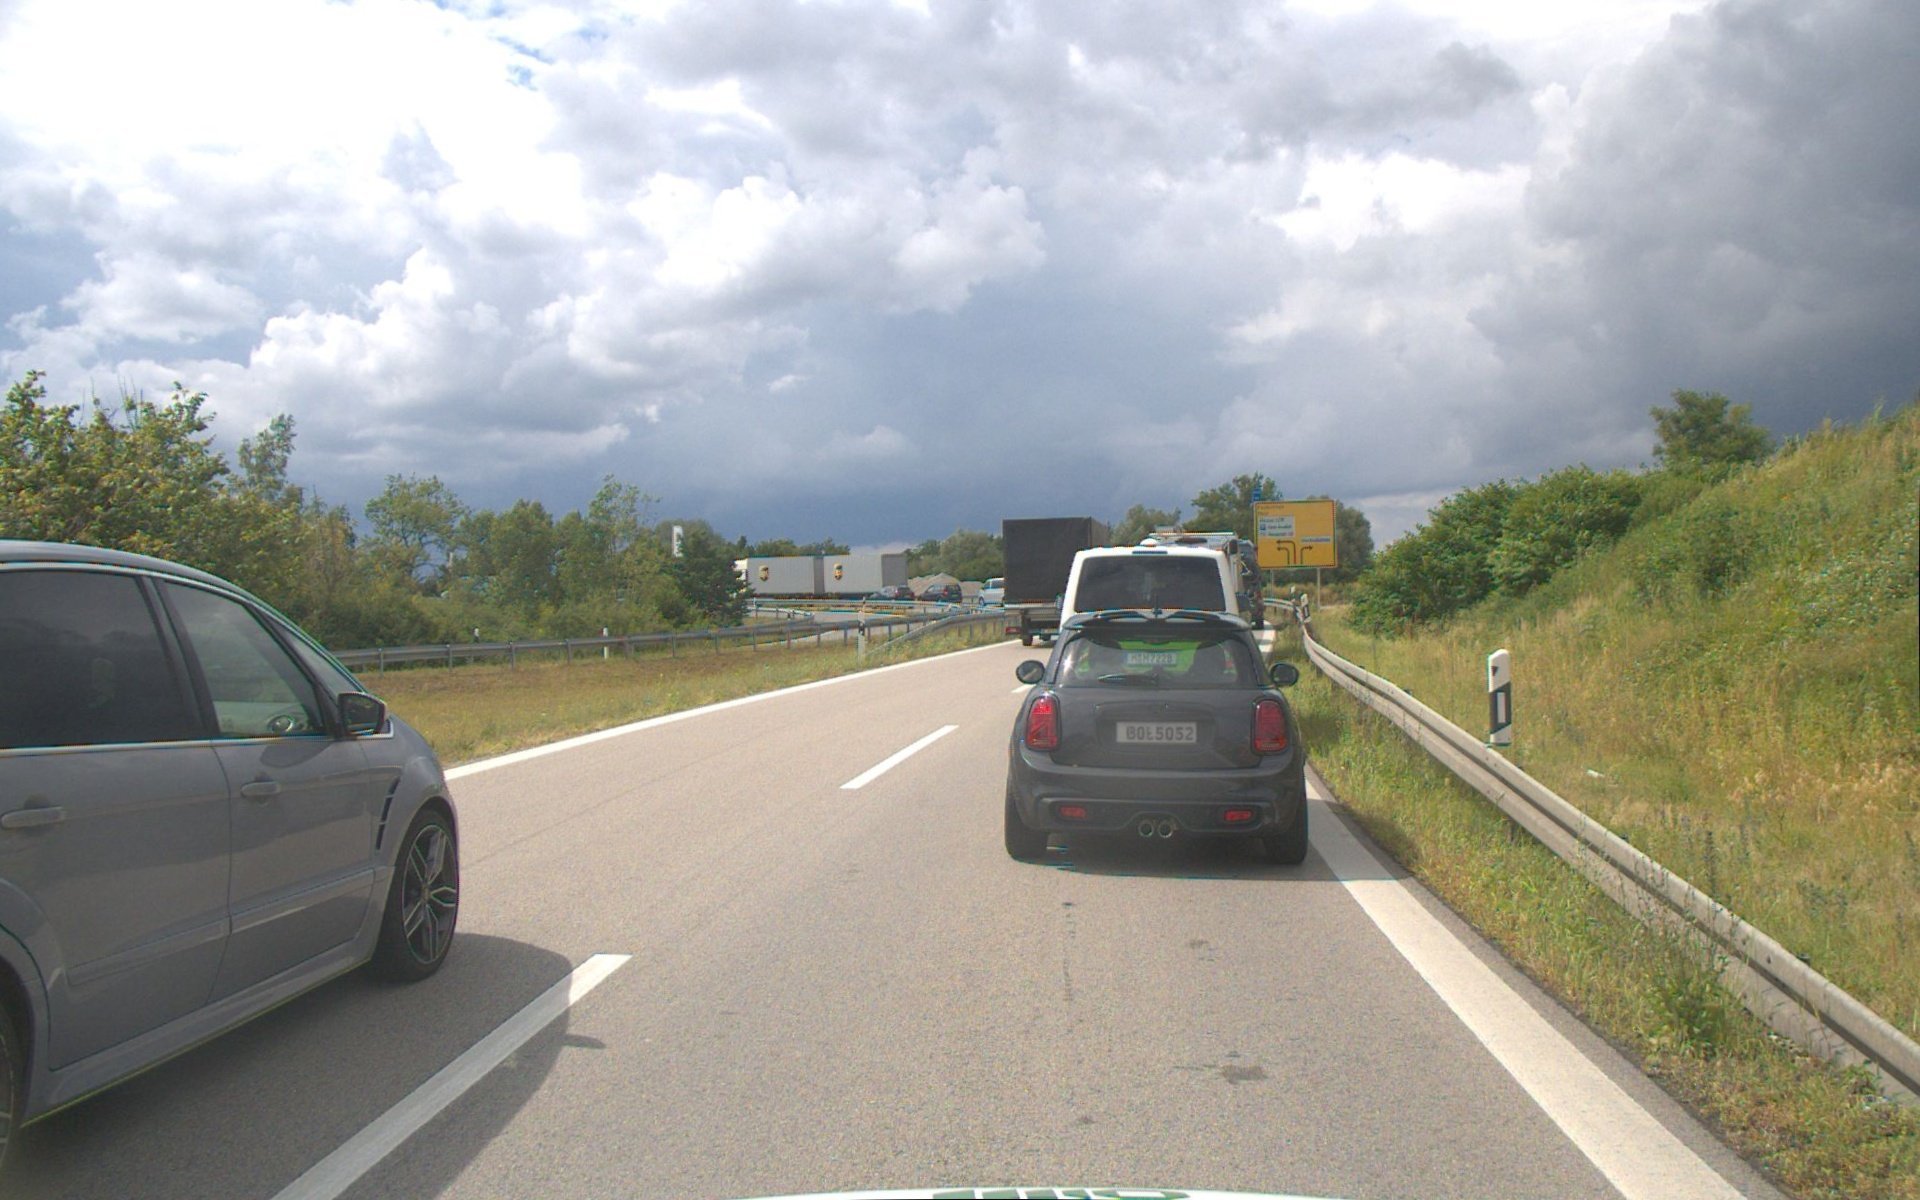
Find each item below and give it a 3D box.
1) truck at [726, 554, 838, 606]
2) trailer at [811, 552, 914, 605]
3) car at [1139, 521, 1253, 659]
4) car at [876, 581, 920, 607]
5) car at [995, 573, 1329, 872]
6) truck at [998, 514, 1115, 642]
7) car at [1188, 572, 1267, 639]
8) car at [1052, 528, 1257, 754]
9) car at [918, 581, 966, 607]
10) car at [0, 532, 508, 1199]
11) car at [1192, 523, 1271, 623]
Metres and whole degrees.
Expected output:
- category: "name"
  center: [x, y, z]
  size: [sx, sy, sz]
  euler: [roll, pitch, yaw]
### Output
- category: "truck"
  center: [-14.500, -1.639, 134.153]
  size: [9.833, 4.046, 2.833]
  euler: [0, -1, 37]
- category: "trailer"
  center: [-7.637, -1.613, 128.086]
  size: [3.023, 3.966, 8.628]
  euler: [2, -1, -45]
- category: "car"
  center: [5.050, -0.170, 35.107]
  size: [2.164, 2.668, 5.538]
  euler: [1, -1, 9]
- category: "car"
  center: [-4.532, -0.430, 120.202]
  size: [1.790, 1.786, 3.966]
  euler: [1, -1, -26]
- category: "car"
  center: [1.256, 0.645, 10.714]
  size: [1.761, 1.573, 3.741]
  euler: [0, 0, 6]
- category: "truck"
  center: [2.788, -0.512, 45.660]
  size: [2.505, 3.223, 7.474]
  euler: [1, -1, 9]
- category: "car"
  center: [7.066, 0.169, 43.751]
  size: [1.951, 1.671, 3.931]
  euler: [1, -1, 9]
- category: "car"
  center: [2.077, 0.381, 17.386]
  size: [1.870, 2.081, 4.184]
  euler: [0, 0, 8]
- category: "car"
  center: [-1.366, -0.452, 122.202]
  size: [1.898, 1.870, 4.281]
  euler: [1, -1, -26]
- category: "car"
  center: [-3.098, 0.675, 4.796]
  size: [1.978, 1.605, 4.589]
  euler: [-1, -1, 5]
- category: "car"
  center: [9.226, -0.824, 55.736]
  size: [2.261, 3.122, 6.667]
  euler: [1, -1, 12]
